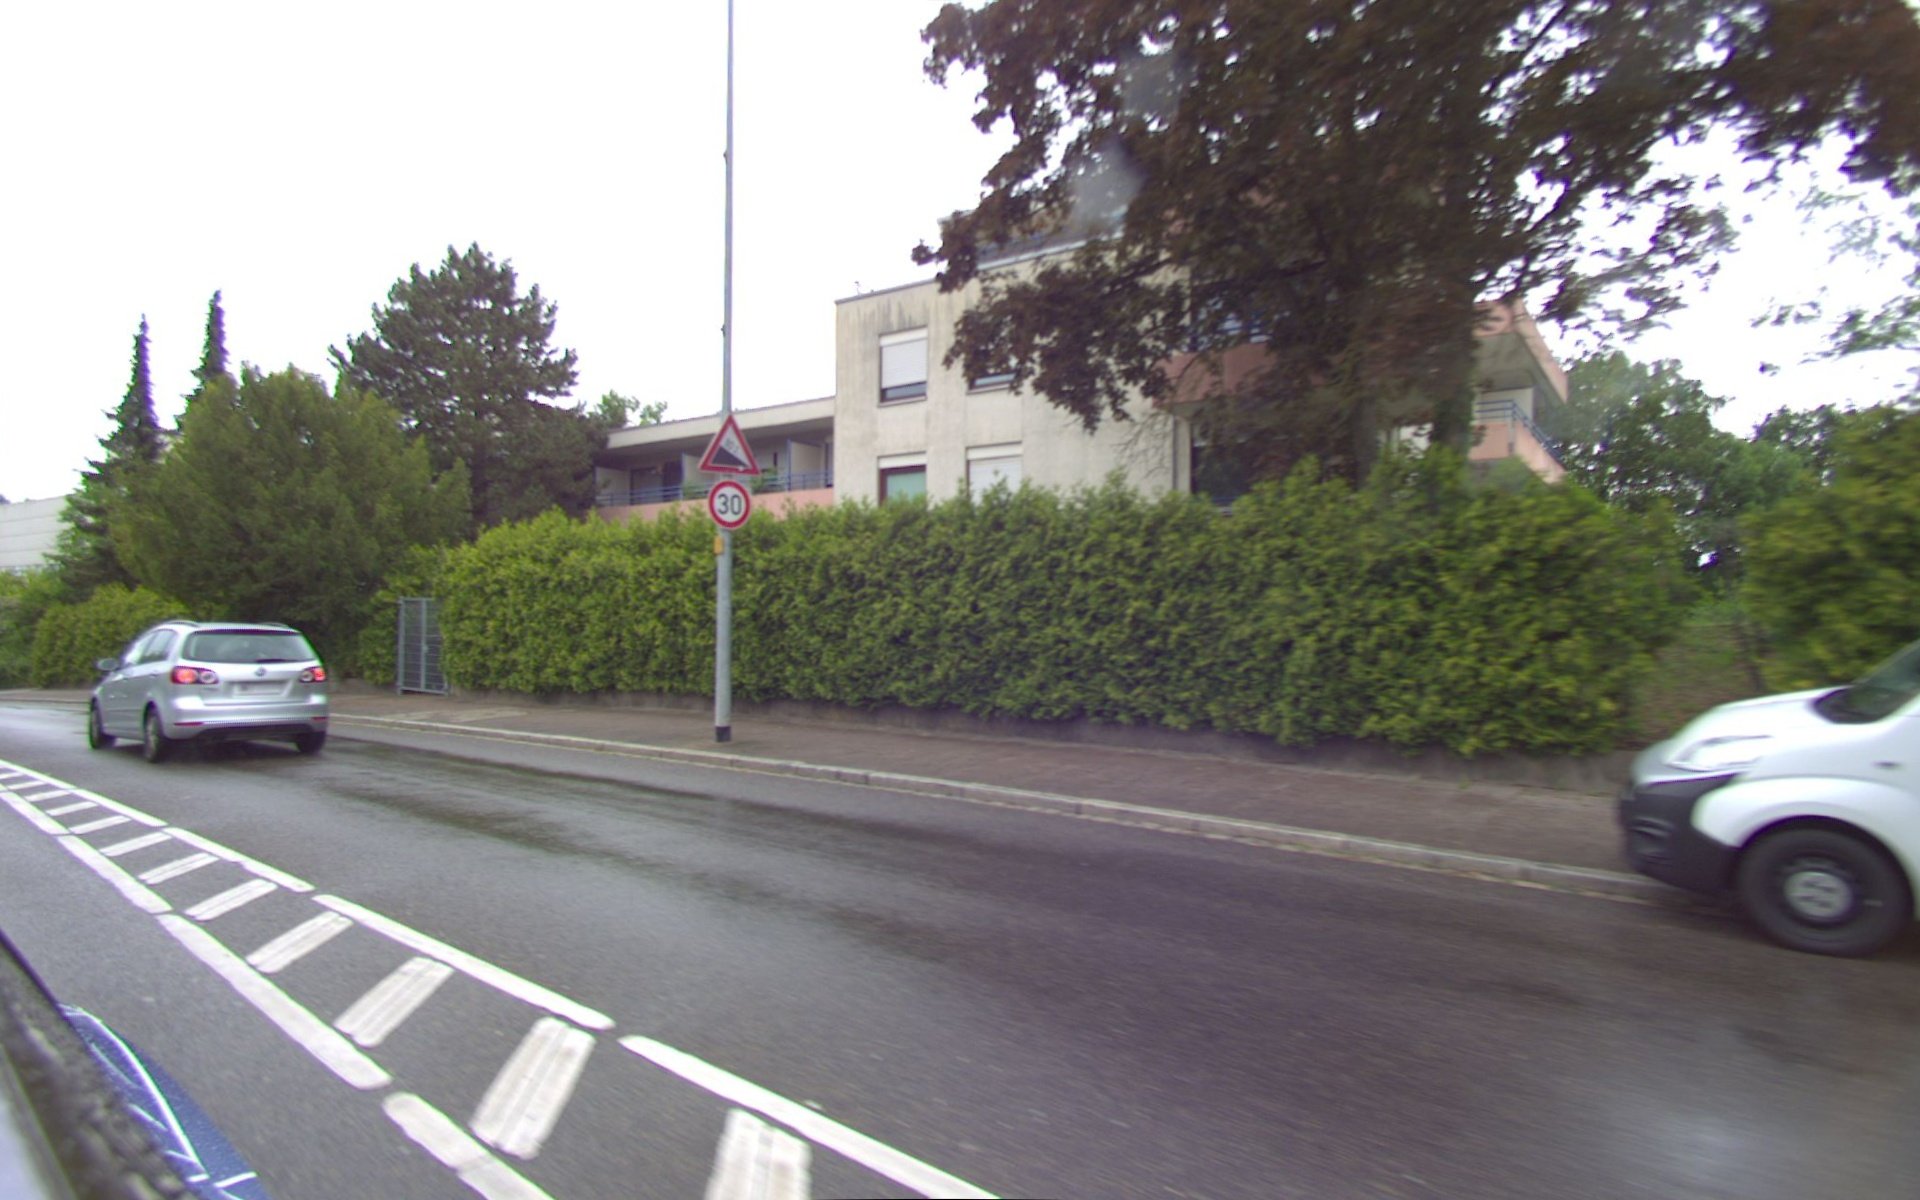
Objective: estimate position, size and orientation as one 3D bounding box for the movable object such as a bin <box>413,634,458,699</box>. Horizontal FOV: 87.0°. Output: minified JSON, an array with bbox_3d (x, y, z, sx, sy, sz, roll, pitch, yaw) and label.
[{"bbox_3d":[-11.279,1.427,21.765,0.804,1.336,0.542,-4,-2,36],"label":"movable object such as a bin"}]

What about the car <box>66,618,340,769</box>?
[{"bbox_3d":[-9.488,1.088,12.591,4.050,1.592,1.619,-2,-5,37],"label":"car"}]

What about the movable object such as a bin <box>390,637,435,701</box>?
[{"bbox_3d":[-12.030,1.513,22.239,0.804,1.336,0.542,-4,-2,36],"label":"movable object such as a bin"}]

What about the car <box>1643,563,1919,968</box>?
[{"bbox_3d":[5.434,0.671,4.375,3.974,1.720,1.684,-2,1,39],"label":"car"}]
